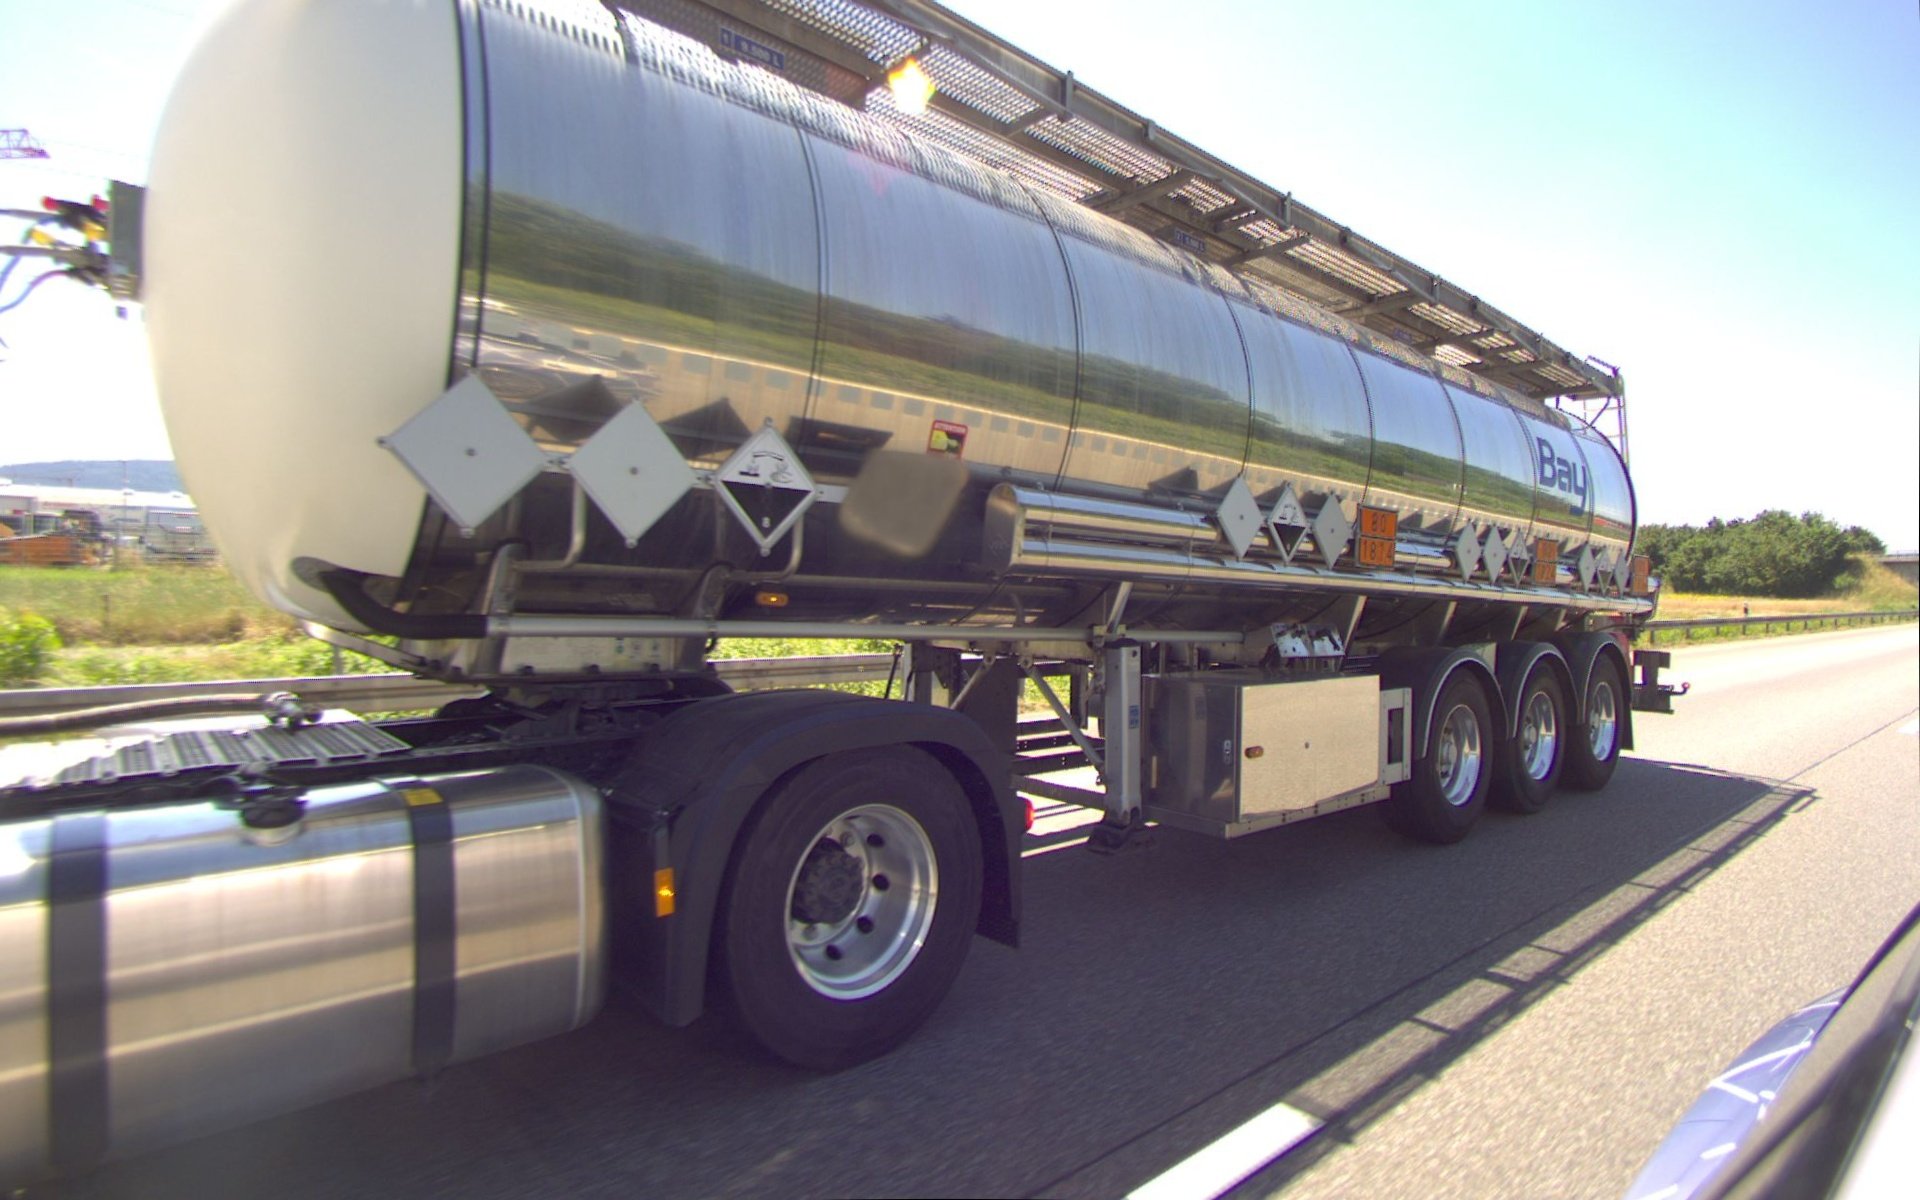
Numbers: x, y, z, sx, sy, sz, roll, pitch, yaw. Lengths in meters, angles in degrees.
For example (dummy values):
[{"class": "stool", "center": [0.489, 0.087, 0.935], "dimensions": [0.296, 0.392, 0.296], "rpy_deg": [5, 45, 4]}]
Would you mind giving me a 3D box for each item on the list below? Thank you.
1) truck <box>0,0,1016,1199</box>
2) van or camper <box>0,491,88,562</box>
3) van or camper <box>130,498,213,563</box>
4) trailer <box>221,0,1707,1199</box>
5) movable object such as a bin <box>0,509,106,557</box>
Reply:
[{"class": "truck", "center": [-3.001, -0.691, 2.357], "dimensions": [6.281, 4.124, 2.577], "rpy_deg": [0, 0, -41]}, {"class": "van or camper", "center": [-37.940, -2.939, 41.321], "dimensions": [3.103, 2.552, 9.337], "rpy_deg": [0, 2, -38]}, {"class": "van or camper", "center": [-33.005, -2.854, 42.360], "dimensions": [2.555, 2.431, 6.134], "rpy_deg": [0, 2, -38]}, {"class": "trailer", "center": [1.951, -0.696, 6.722], "dimensions": [10.909, 4.126, 2.584], "rpy_deg": [0, 0, -41]}, {"class": "movable object such as a bin", "center": [-53.426, -3.855, 58.083], "dimensions": [6.688, 2.585, 2.919], "rpy_deg": [-1, 3, -41]}]
